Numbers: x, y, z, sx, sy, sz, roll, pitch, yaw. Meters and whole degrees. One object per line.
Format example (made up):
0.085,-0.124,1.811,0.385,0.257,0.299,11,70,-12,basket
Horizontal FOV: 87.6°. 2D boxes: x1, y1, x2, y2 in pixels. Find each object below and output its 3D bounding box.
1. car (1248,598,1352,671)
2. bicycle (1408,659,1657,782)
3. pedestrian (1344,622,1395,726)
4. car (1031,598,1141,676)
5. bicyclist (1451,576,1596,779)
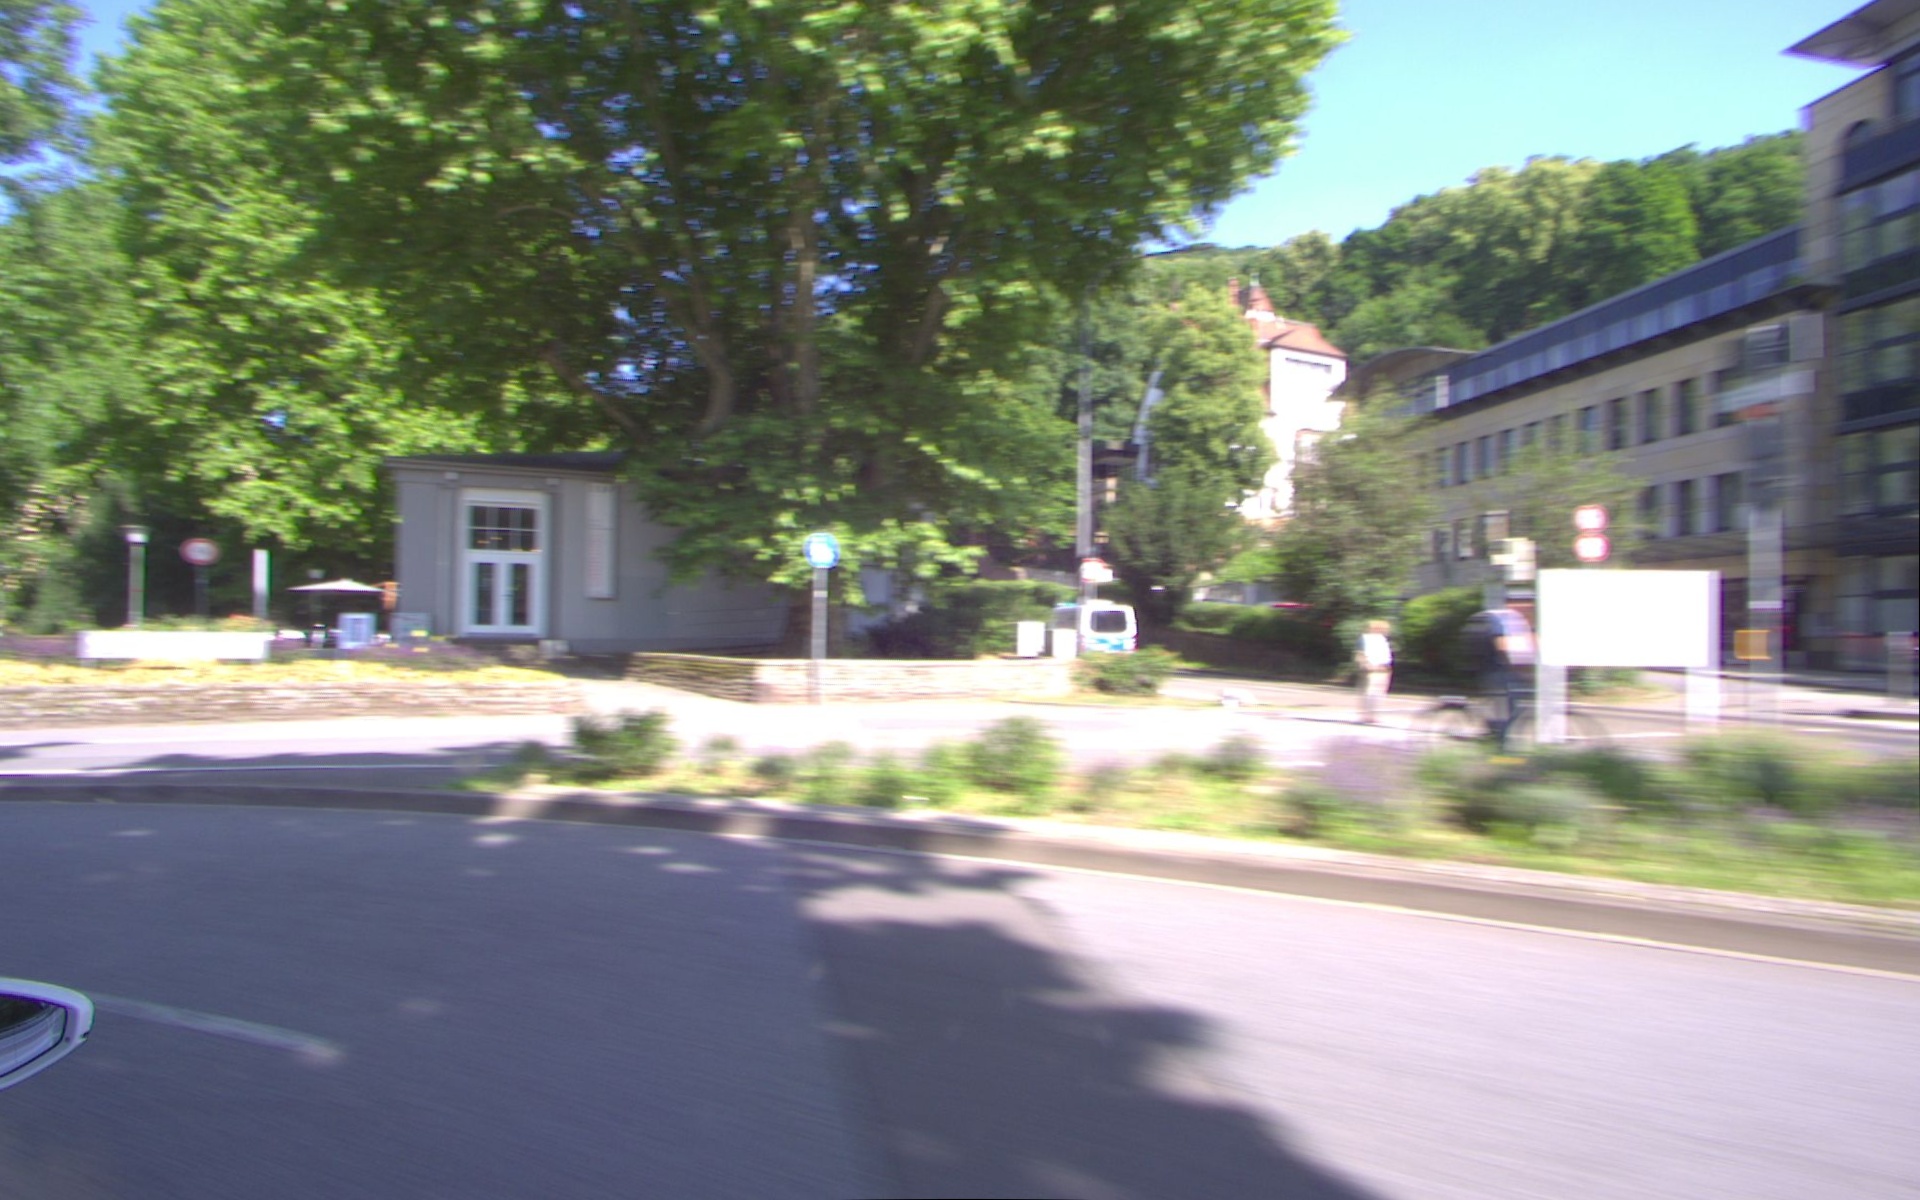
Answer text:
12.714,1.323,37.756,1.902,2.604,3.998,0,-2,-13,car
5.719,1.183,10.132,2.044,1.127,0.756,0,-2,13,bicycle
6.612,1.187,16.194,0.538,1.642,0.634,0,-1,-3,pedestrian
4.361,1.345,35.561,2.043,2.540,4.923,2,-3,-16,car
5.680,0.760,10.165,1.108,1.957,0.748,0,-2,13,bicyclist
